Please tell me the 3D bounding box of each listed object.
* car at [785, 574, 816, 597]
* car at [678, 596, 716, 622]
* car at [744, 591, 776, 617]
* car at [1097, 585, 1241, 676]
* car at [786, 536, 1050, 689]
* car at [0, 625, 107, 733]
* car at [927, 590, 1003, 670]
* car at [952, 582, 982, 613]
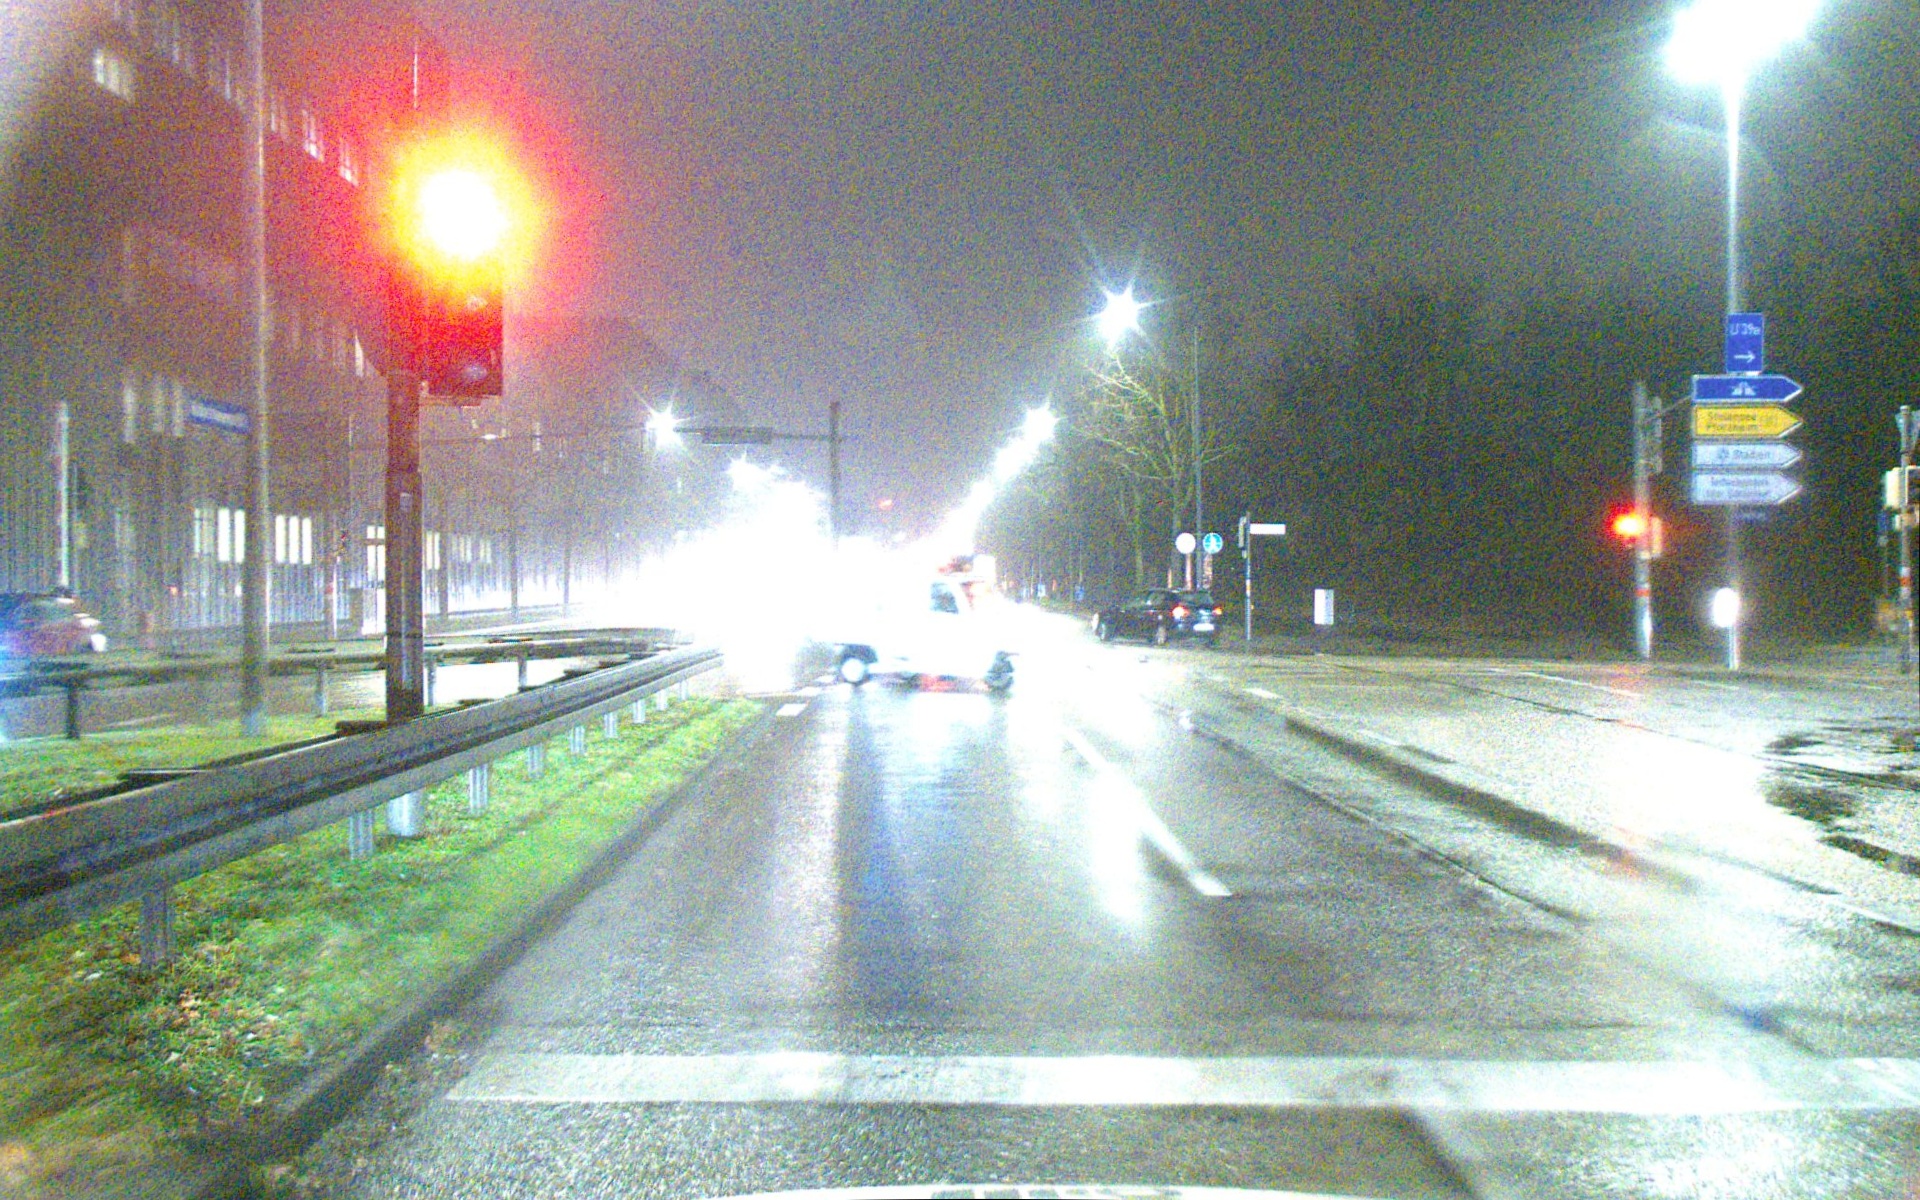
[{"bbox_3d":[-11.281,-0.995,117.065,1.847,1.579,4.432,0,0,-1],"label":"car"},{"bbox_3d":[-16.346,0.570,103.026,1.764,1.591,3.999,0,0,-1],"label":"car"},{"bbox_3d":[-14.307,0.275,118.352,1.714,1.738,4.498,-1,0,0],"label":"car"},{"bbox_3d":[5.399,0.782,43.078,2.179,2.253,3.615,1,-1,-24],"label":"car"},{"bbox_3d":[-0.625,0.172,23.851,3.494,2.049,1.699,0,-1,34],"label":"car"},{"bbox_3d":[-14.451,1.140,24.312,1.787,1.490,3.999,0,0,-1],"label":"car"},{"bbox_3d":[0.095,0.787,44.814,1.953,2.049,3.999,0,0,-1],"label":"car"},{"bbox_3d":[0.509,-0.180,112.269,1.996,2.049,4.307,0,0,0],"label":"car"}]
